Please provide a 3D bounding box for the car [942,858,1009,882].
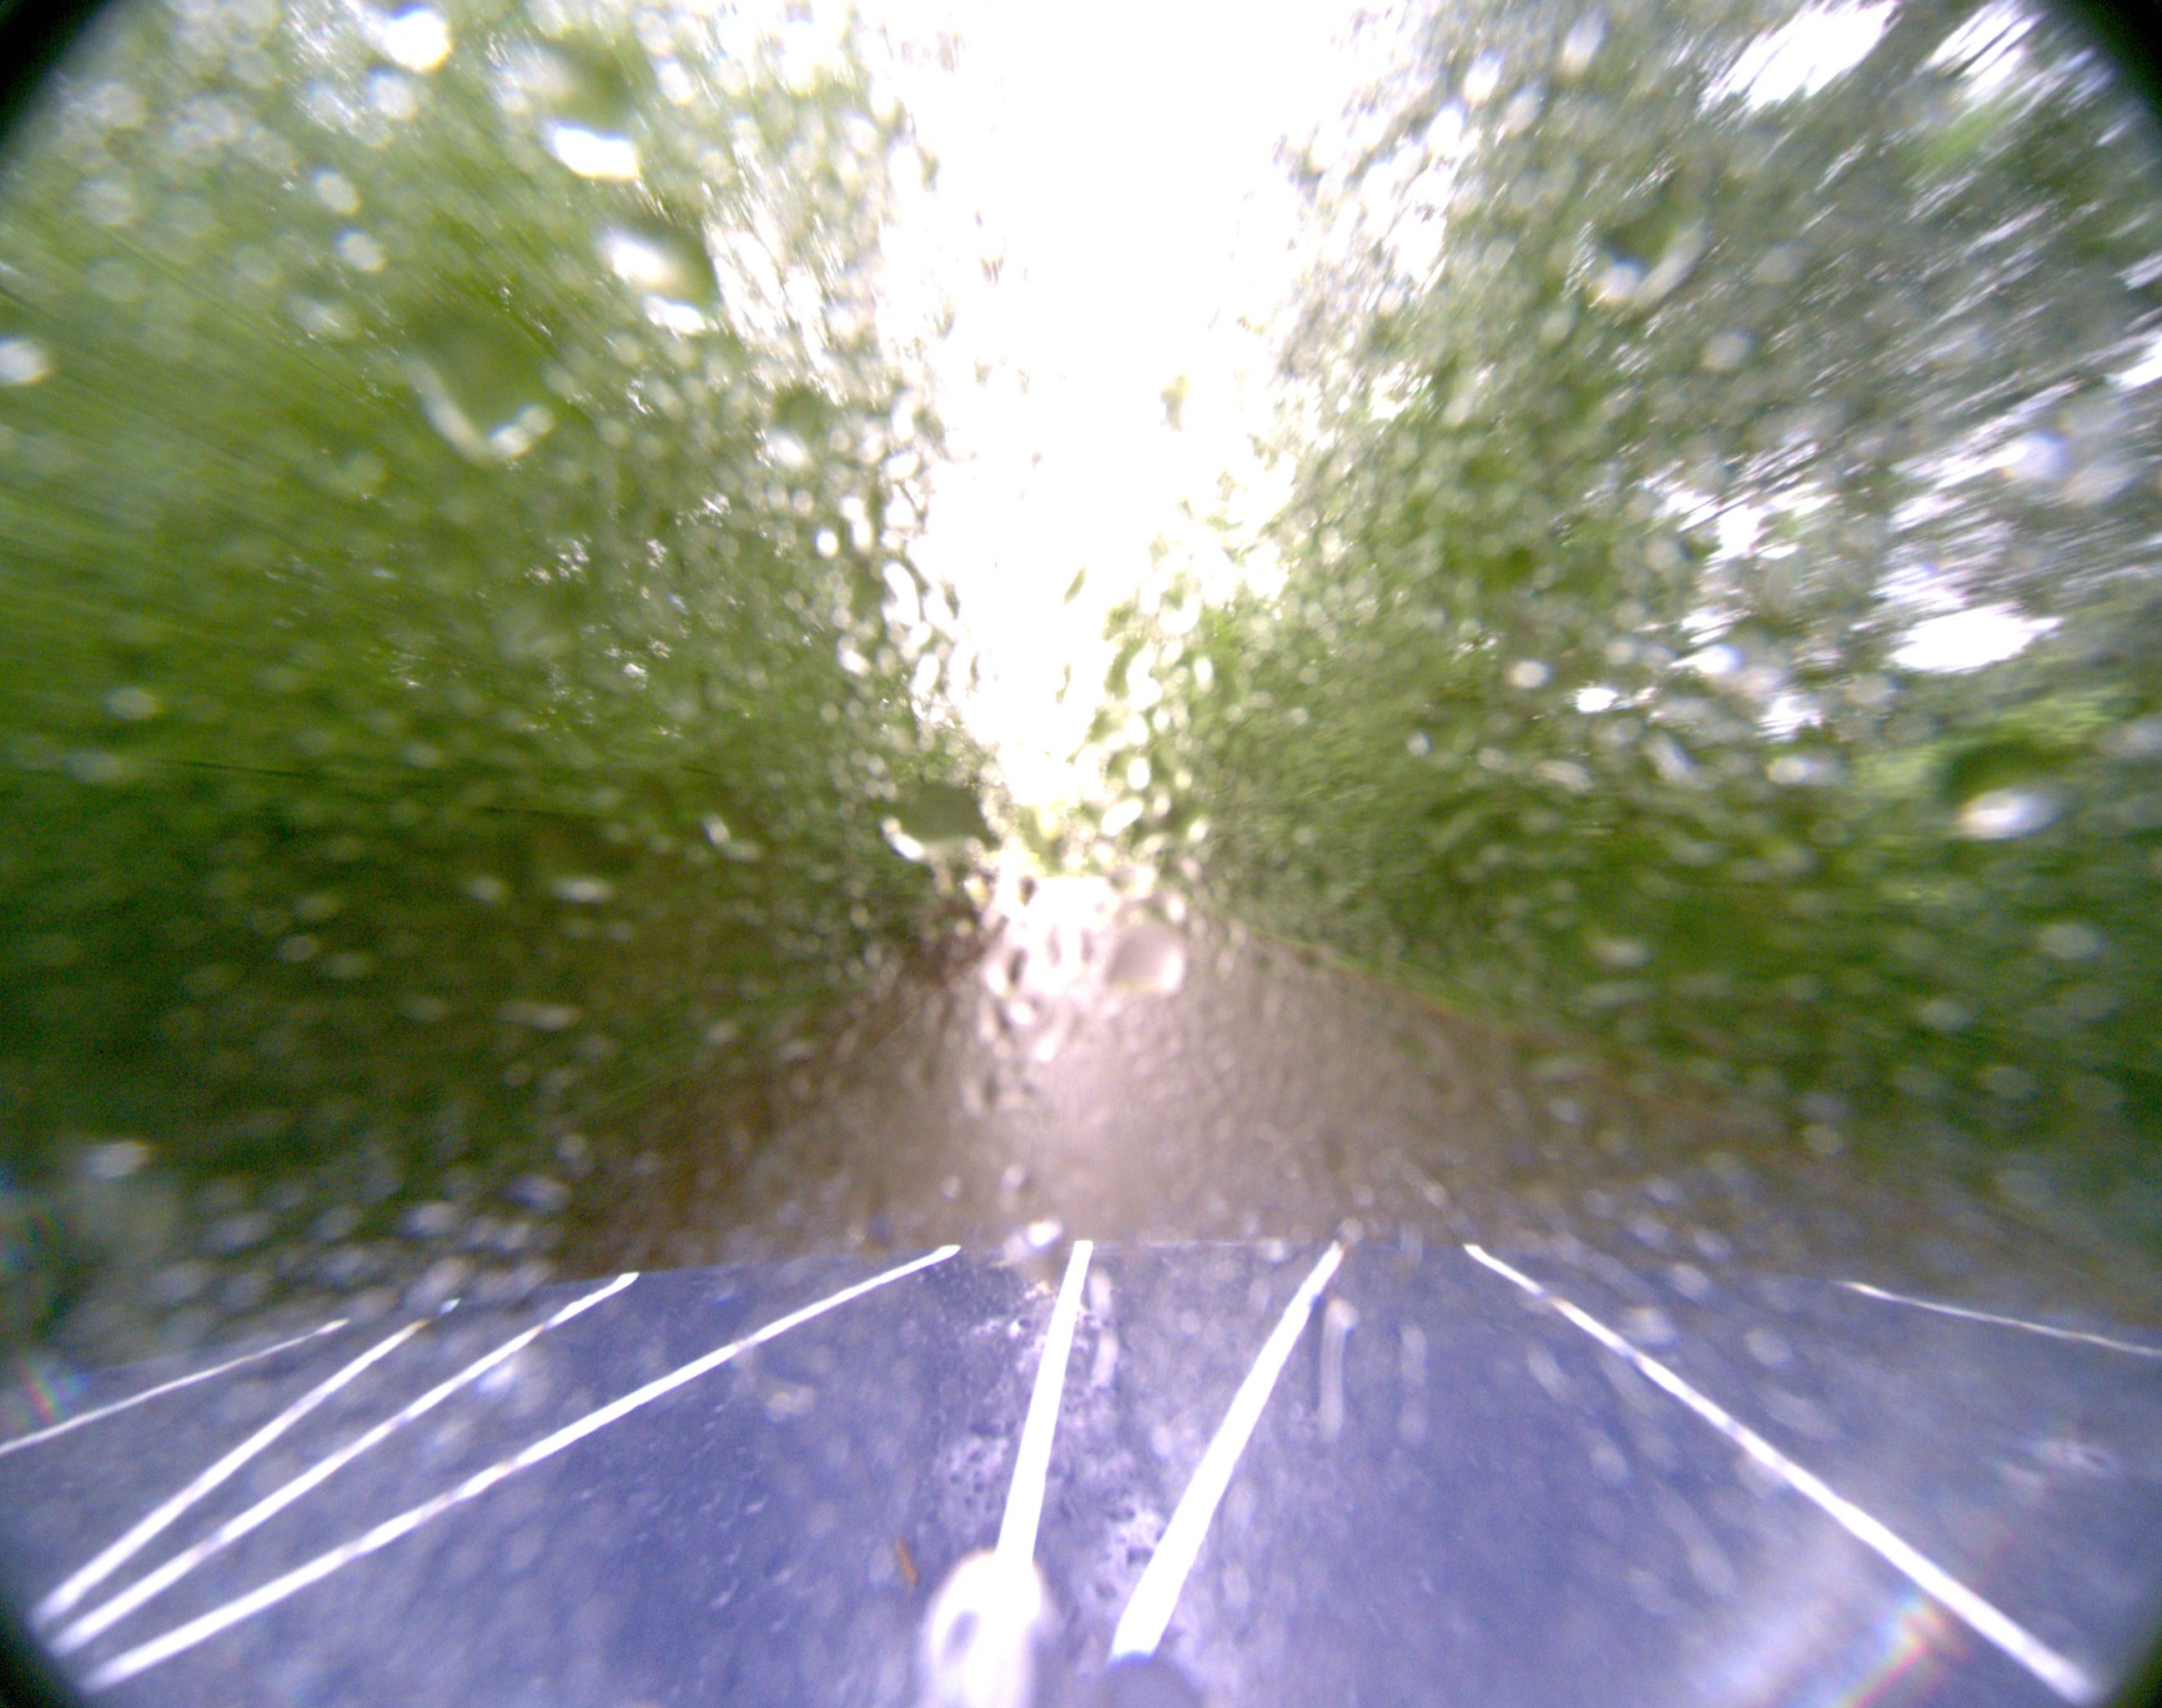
[{"bbox_3d":[-6.529,0.989,47.026,3.713,1.427,1.708,-1,0,12],"label":"car"}]
